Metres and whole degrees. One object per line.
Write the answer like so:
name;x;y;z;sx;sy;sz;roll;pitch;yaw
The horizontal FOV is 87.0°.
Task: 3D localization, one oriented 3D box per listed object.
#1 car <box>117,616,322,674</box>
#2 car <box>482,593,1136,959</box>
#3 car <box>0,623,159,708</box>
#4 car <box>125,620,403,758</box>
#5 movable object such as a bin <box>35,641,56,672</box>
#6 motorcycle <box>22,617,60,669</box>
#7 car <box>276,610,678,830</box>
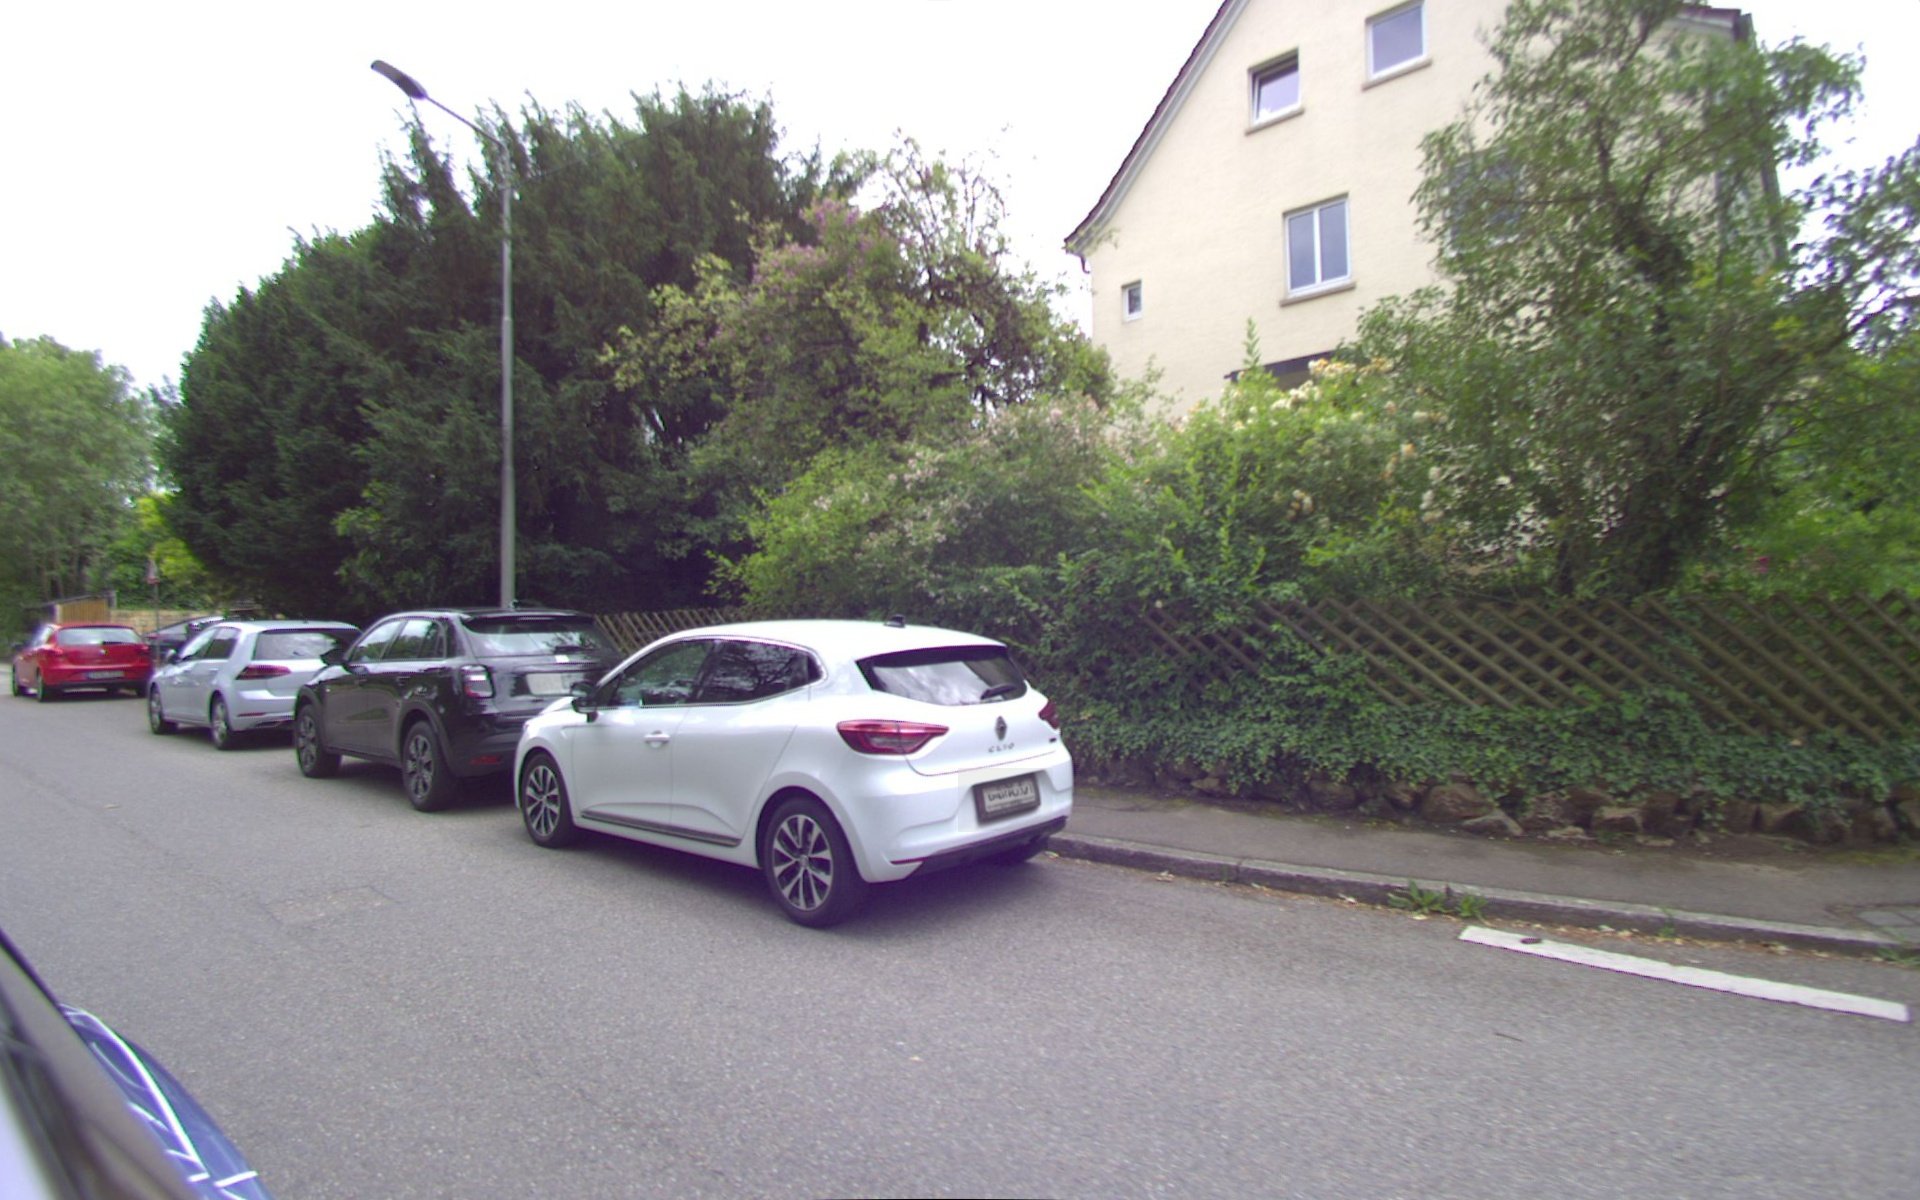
car;-21.901;1.287;30.086;1.889;1.397;4.559;-3;0;40
car;-1.130;0.770;6.183;4.012;1.511;1.765;-2;-1;41
car;-16.930;1.191;19.400;3.783;1.450;1.719;-2;-1;39
car;-8.888;1.006;12.795;4.319;1.450;1.766;-2;-1;39
movable object such as a bin;-27.883;1.731;30.861;0.556;0.931;0.362;-2;-5;42
motorcycle;-28.969;1.361;31.906;1.909;1.594;0.479;-2;-1;35
car;-4.416;0.874;8.984;4.012;1.511;1.765;-2;-1;41
